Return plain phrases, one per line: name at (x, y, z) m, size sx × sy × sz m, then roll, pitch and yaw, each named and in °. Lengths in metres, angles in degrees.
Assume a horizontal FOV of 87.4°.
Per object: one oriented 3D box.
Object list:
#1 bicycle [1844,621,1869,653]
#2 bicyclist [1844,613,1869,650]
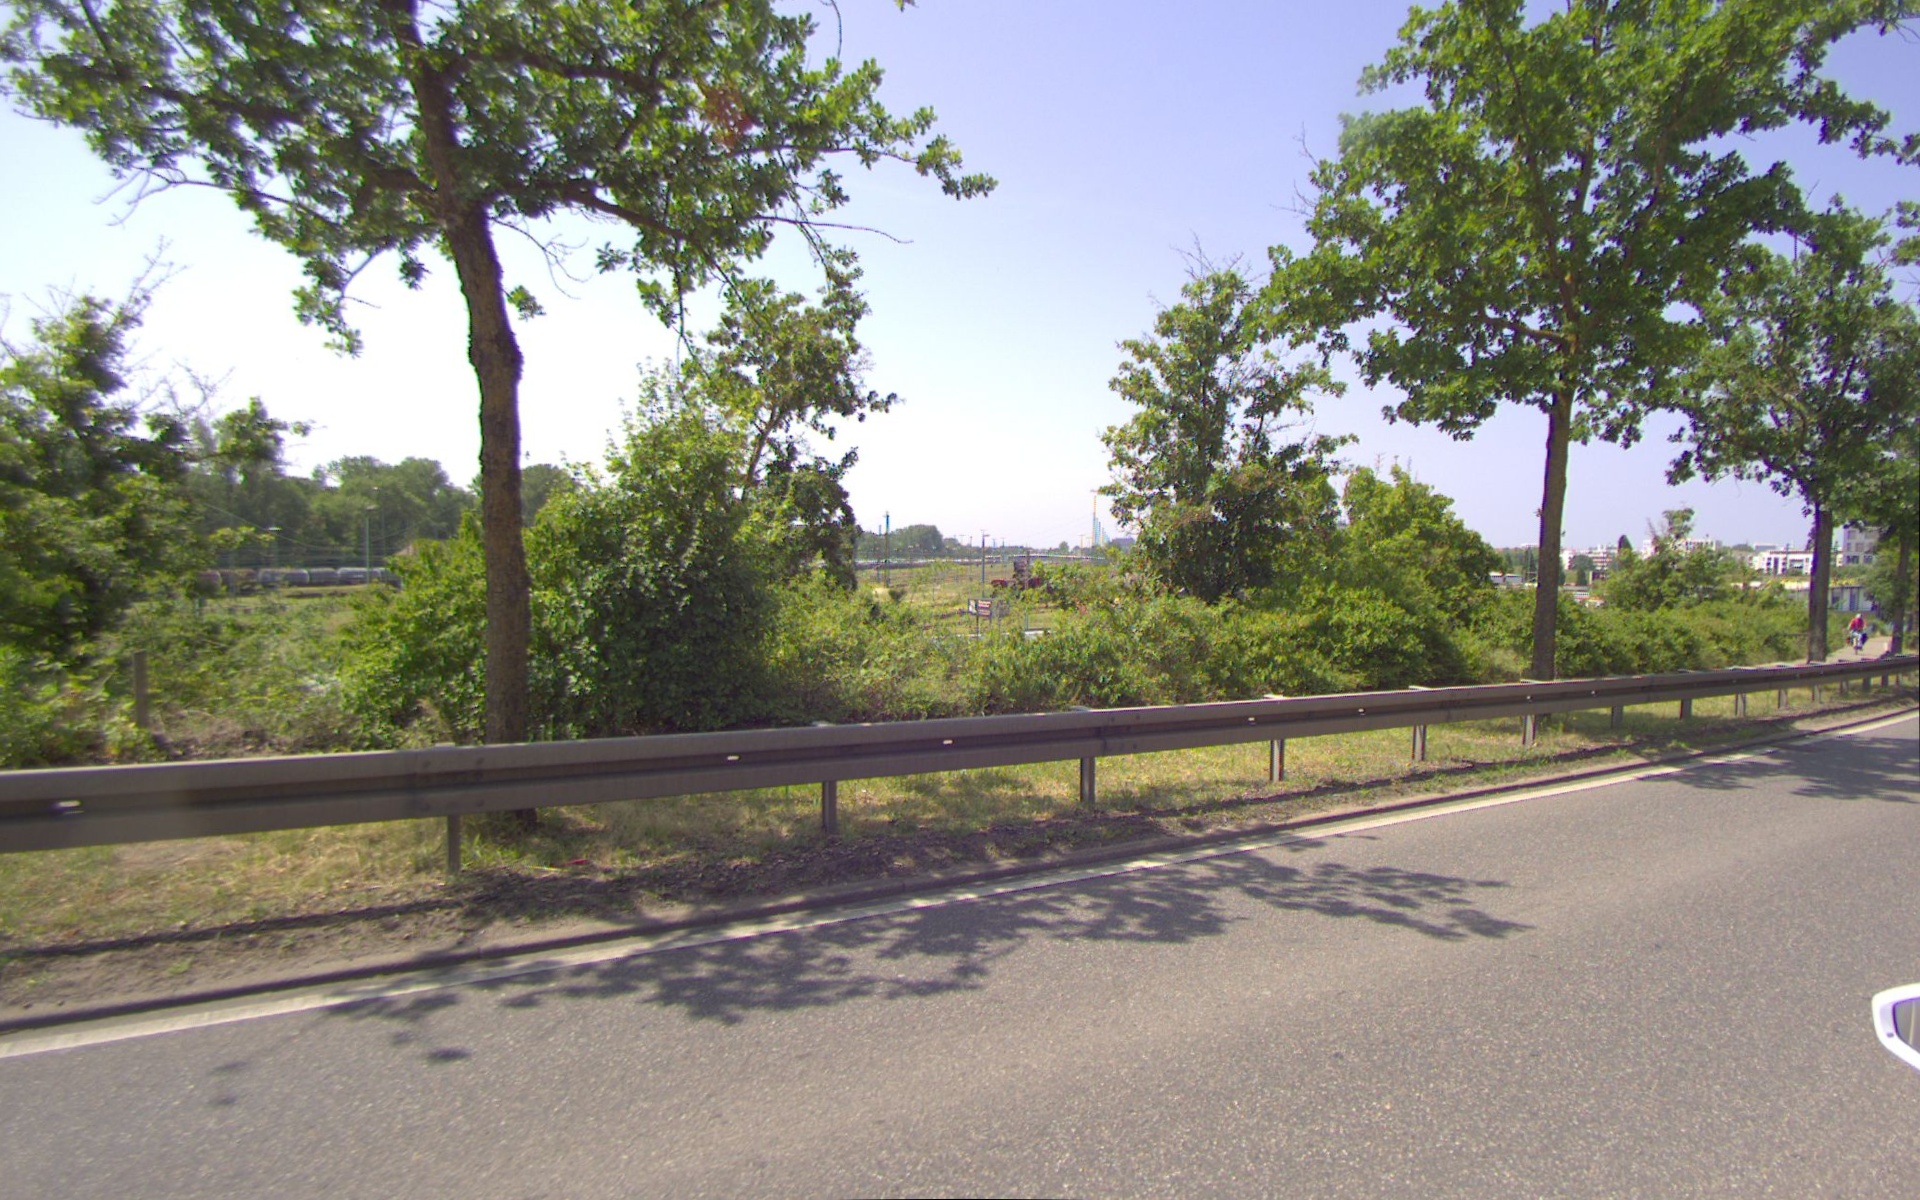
bicycle at (37.852, 1.541, 42.431) m, size 0.726 × 1.298 × 2.035 m, roll 3°, pitch 1°, yaw 42°
bicyclist at (37.936, 1.340, 42.512) m, size 0.733 × 1.509 × 0.753 m, roll 3°, pitch 1°, yaw 42°
